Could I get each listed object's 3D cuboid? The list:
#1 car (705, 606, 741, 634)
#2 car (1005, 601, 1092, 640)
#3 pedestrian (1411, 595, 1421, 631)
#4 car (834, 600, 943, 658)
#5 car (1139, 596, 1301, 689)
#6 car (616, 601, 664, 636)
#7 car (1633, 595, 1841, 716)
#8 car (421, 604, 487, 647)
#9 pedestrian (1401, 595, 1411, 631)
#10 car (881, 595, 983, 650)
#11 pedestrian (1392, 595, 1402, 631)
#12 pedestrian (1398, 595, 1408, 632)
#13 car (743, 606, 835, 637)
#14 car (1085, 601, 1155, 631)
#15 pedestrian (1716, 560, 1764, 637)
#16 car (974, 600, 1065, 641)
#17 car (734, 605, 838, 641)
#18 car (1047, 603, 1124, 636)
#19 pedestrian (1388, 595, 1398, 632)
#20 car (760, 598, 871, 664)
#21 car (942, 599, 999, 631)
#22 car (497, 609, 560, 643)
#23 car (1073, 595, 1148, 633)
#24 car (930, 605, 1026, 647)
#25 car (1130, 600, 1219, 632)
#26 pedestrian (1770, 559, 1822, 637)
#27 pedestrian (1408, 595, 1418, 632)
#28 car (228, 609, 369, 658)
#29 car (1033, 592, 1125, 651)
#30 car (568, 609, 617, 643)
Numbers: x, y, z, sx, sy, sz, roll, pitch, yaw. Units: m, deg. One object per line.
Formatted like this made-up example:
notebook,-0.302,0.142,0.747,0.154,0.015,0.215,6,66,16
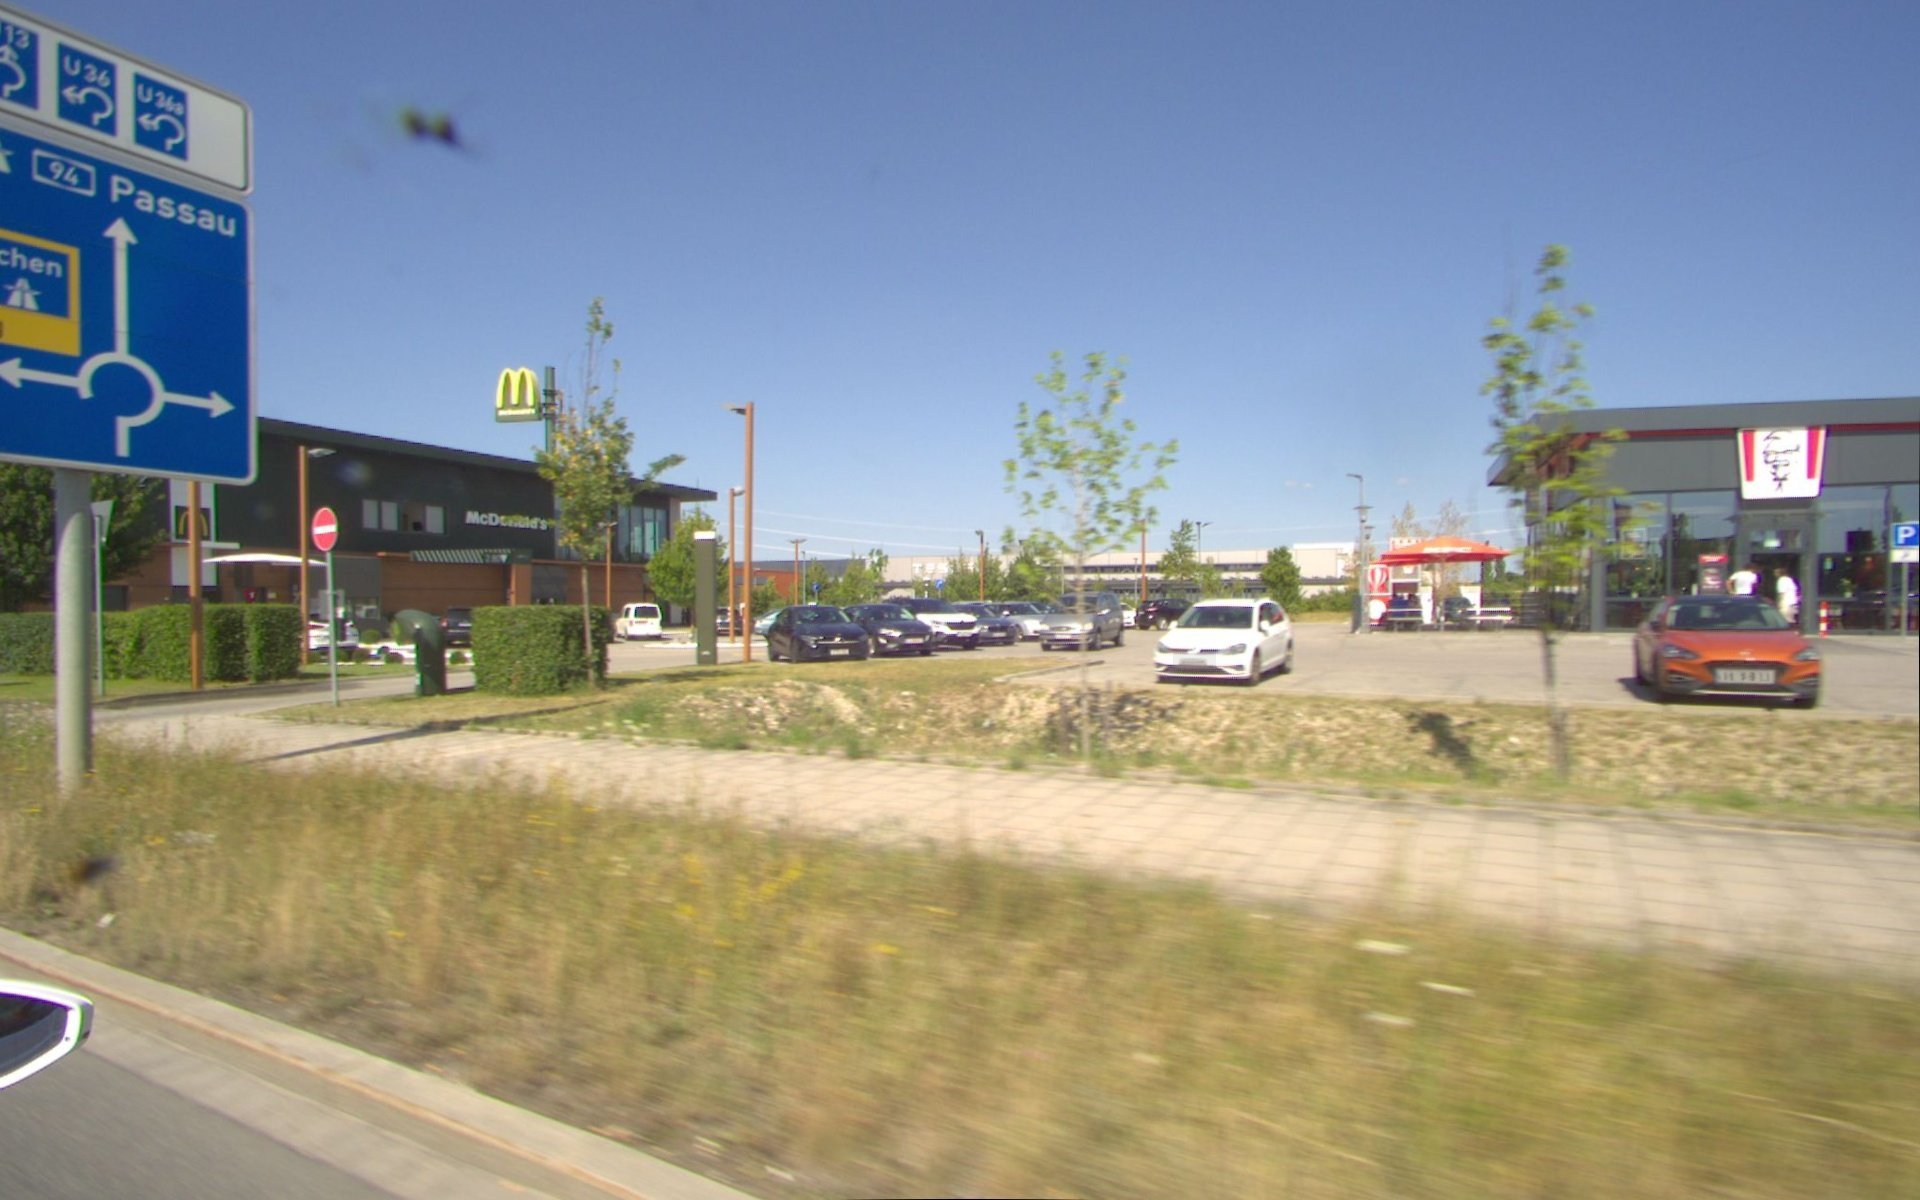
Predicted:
car,-13.502,1.112,57.138,1.765,1.541,3.997,-1,0,-10
car,3.534,0.806,40.816,1.762,1.470,4.155,-1,0,-24
pedestrian,15.917,0.462,34.943,0.287,1.257,0.379,0,1,22
car,-2.087,0.766,28.075,1.762,1.481,4.155,-1,0,-24
car,5.007,0.698,18.834,1.841,1.510,4.519,0,0,30
car,-16.265,0.916,50.817,1.770,1.724,3.984,-1,0,-25
car,11.237,0.681,14.786,1.841,1.510,4.198,0,0,30
car,-20.641,1.002,40.746,1.776,1.625,3.972,-1,0,-36
pedestrian,15.630,0.464,35.068,0.287,1.257,0.379,0,1,22
car,-0.943,0.670,31.382,1.762,1.600,4.155,-1,0,-24
pedestrian,15.361,0.467,35.183,0.287,1.257,0.379,0,1,22
pedestrian,15.213,0.454,34.418,0.287,1.257,0.379,0,1,22
car,-8.268,1.026,48.441,4.110,1.391,1.794,-1,0,-21
car,8.587,0.867,54.075,1.762,1.542,4.155,-1,0,-24
pedestrian,21.283,-0.026,27.336,0.877,2.040,0.912,0,0,27
car,2.191,0.763,38.120,1.762,1.470,4.155,-1,0,-24
car,-7.098,0.918,40.832,3.932,1.391,1.794,-1,0,-21
car,5.896,0.913,47.446,1.762,1.470,4.155,-1,0,-24
pedestrian,14.929,0.456,34.517,0.287,1.257,0.379,0,1,22
car,-3.661,0.728,24.818,1.675,1.481,4.155,-1,0,-24
car,0.593,0.837,58.351,1.762,1.780,4.155,-1,0,-24
car,-19.231,1.131,44.536,1.776,1.453,3.972,-1,0,-36
car,7.430,0.682,49.826,1.762,1.780,4.155,-1,0,-24
car,0.548,0.865,34.658,1.762,1.314,4.155,-1,0,-24
car,10.873,0.810,50.844,4.098,1.542,1.787,0,0,-20
pedestrian,22.447,-0.036,26.895,0.877,2.040,0.912,0,0,27
pedestrian,15.505,0.451,34.303,0.287,1.257,0.379,0,1,22
car,-20.612,1.028,31.200,3.933,1.453,1.793,-1,0,23
car,3.688,0.616,30.457,1.761,1.657,4.158,-1,0,22
car,-17.380,1.193,47.259,1.771,1.533,3.983,-1,0,-26
